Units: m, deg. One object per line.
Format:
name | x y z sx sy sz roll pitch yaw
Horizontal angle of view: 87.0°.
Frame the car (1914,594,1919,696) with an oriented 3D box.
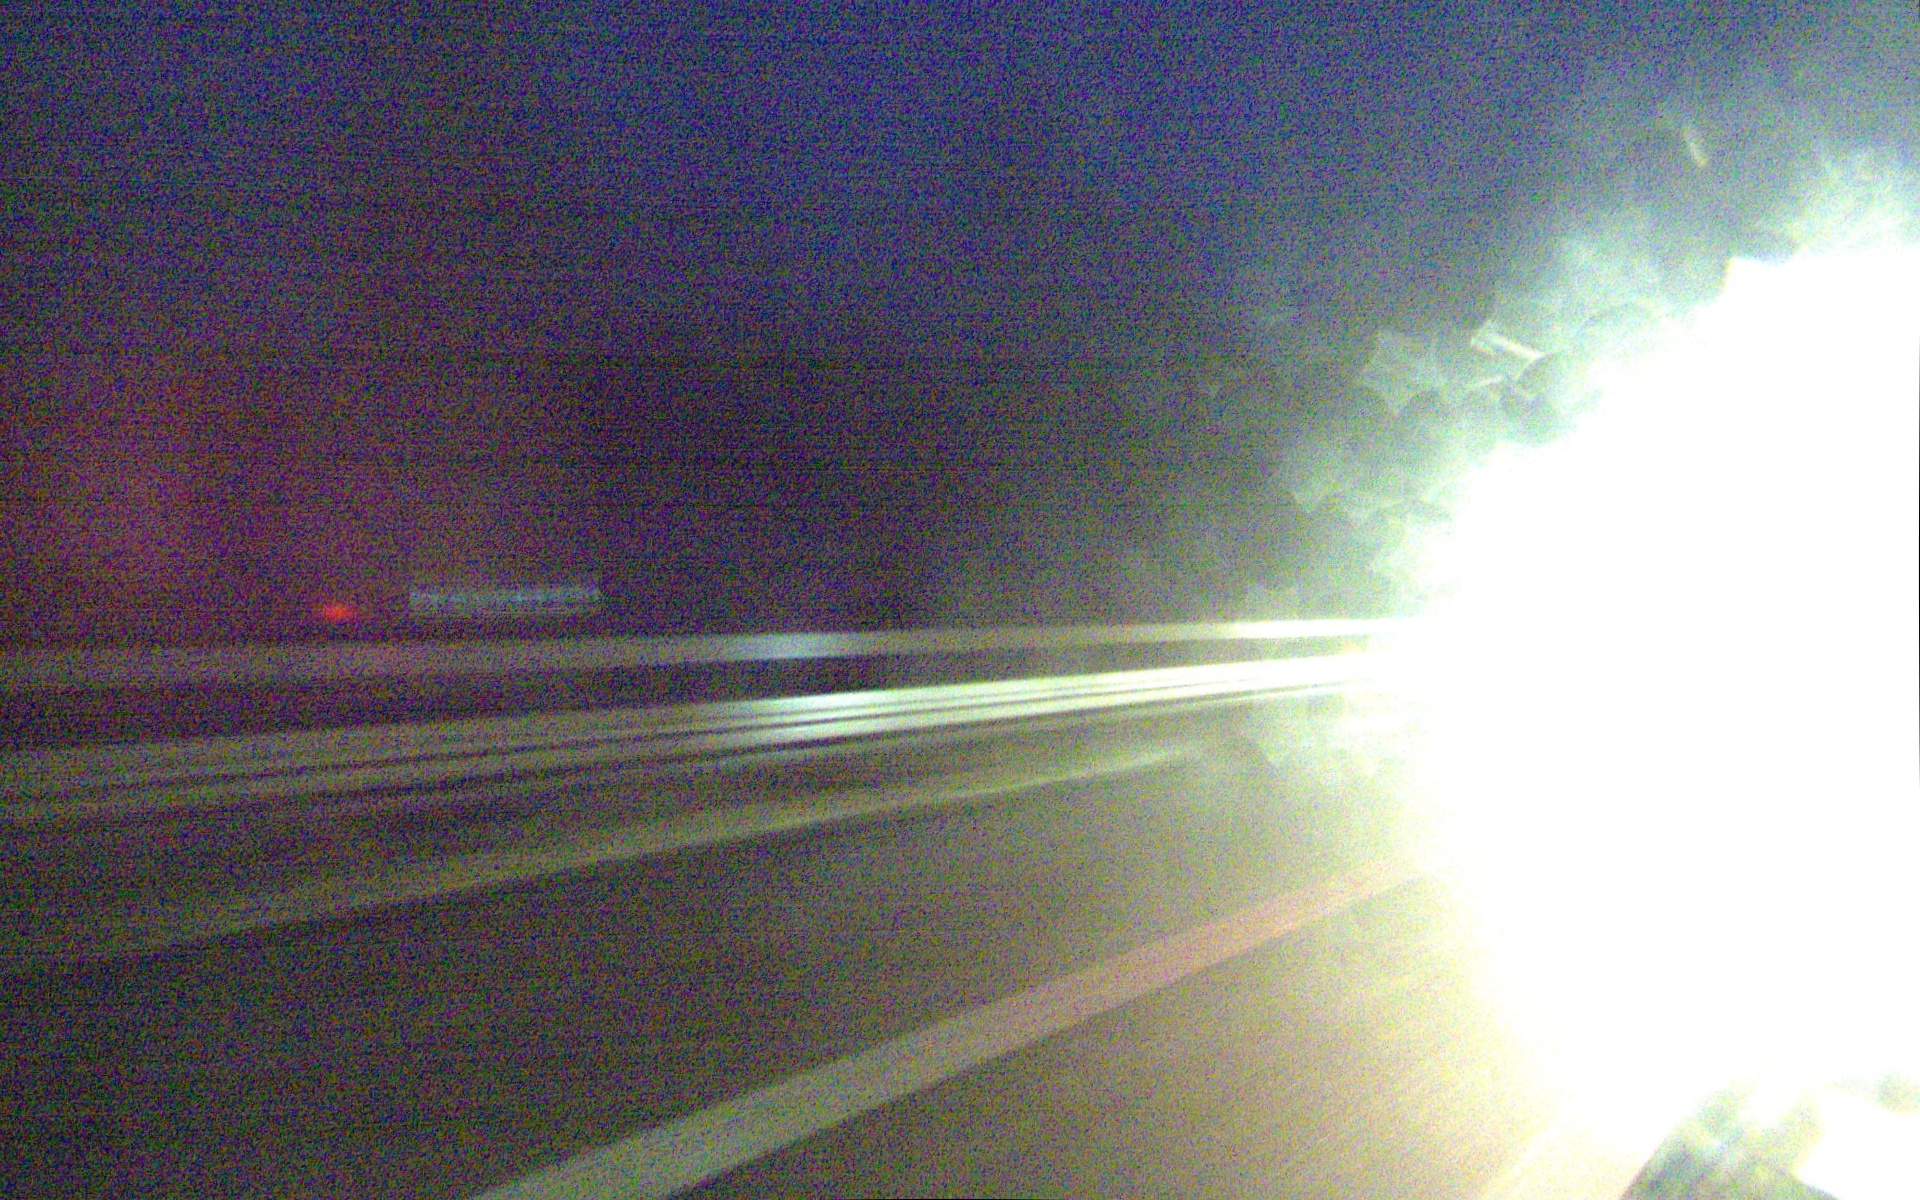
car | 15.935 0.665 15.309 4.121 1.476 1.773 0 1 -41
